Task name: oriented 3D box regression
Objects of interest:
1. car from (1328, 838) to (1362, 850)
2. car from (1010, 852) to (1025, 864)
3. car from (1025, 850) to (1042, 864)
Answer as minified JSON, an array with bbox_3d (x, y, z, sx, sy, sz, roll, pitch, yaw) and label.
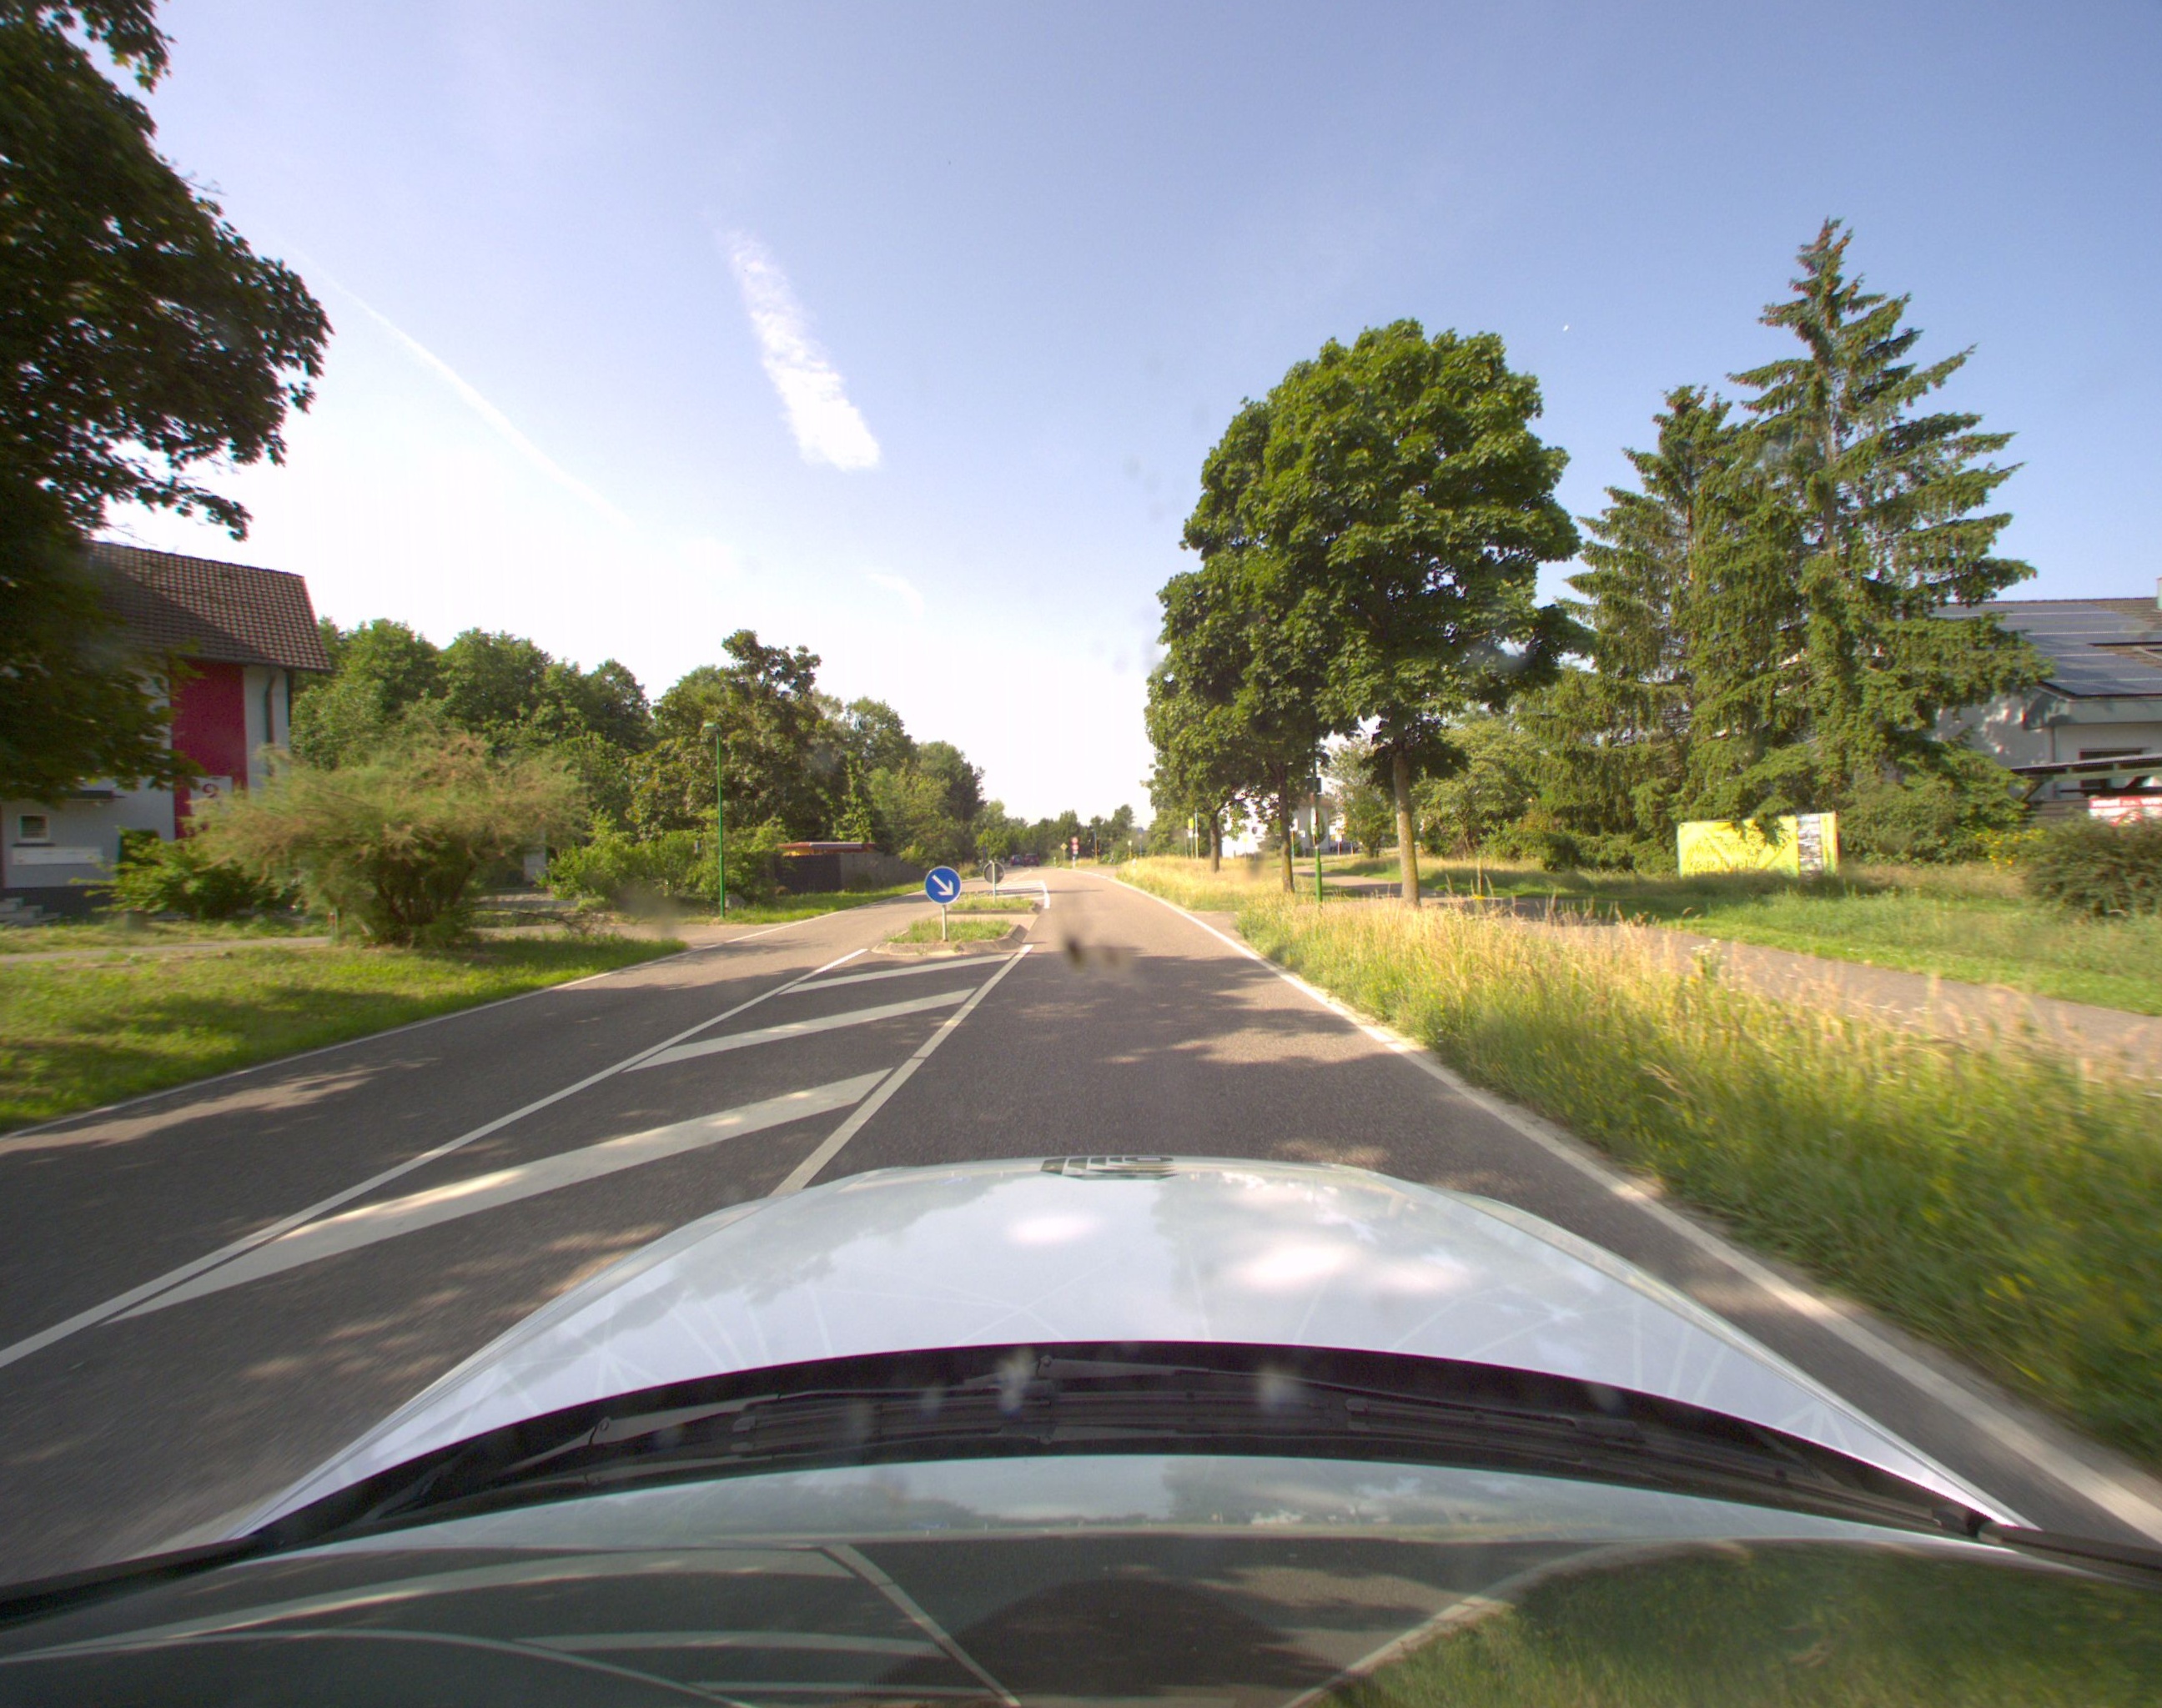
[{"bbox_3d":[38.636,-1.464,119.135,4.403,1.698,1.782,0,0,36],"label":"car"},{"bbox_3d":[-9.693,0.631,124.600,2.003,1.771,3.989,-2,1,-8],"label":"car"},{"bbox_3d":[-6.103,0.381,104.599,1.923,1.771,3.991,-2,1,-6],"label":"car"}]
